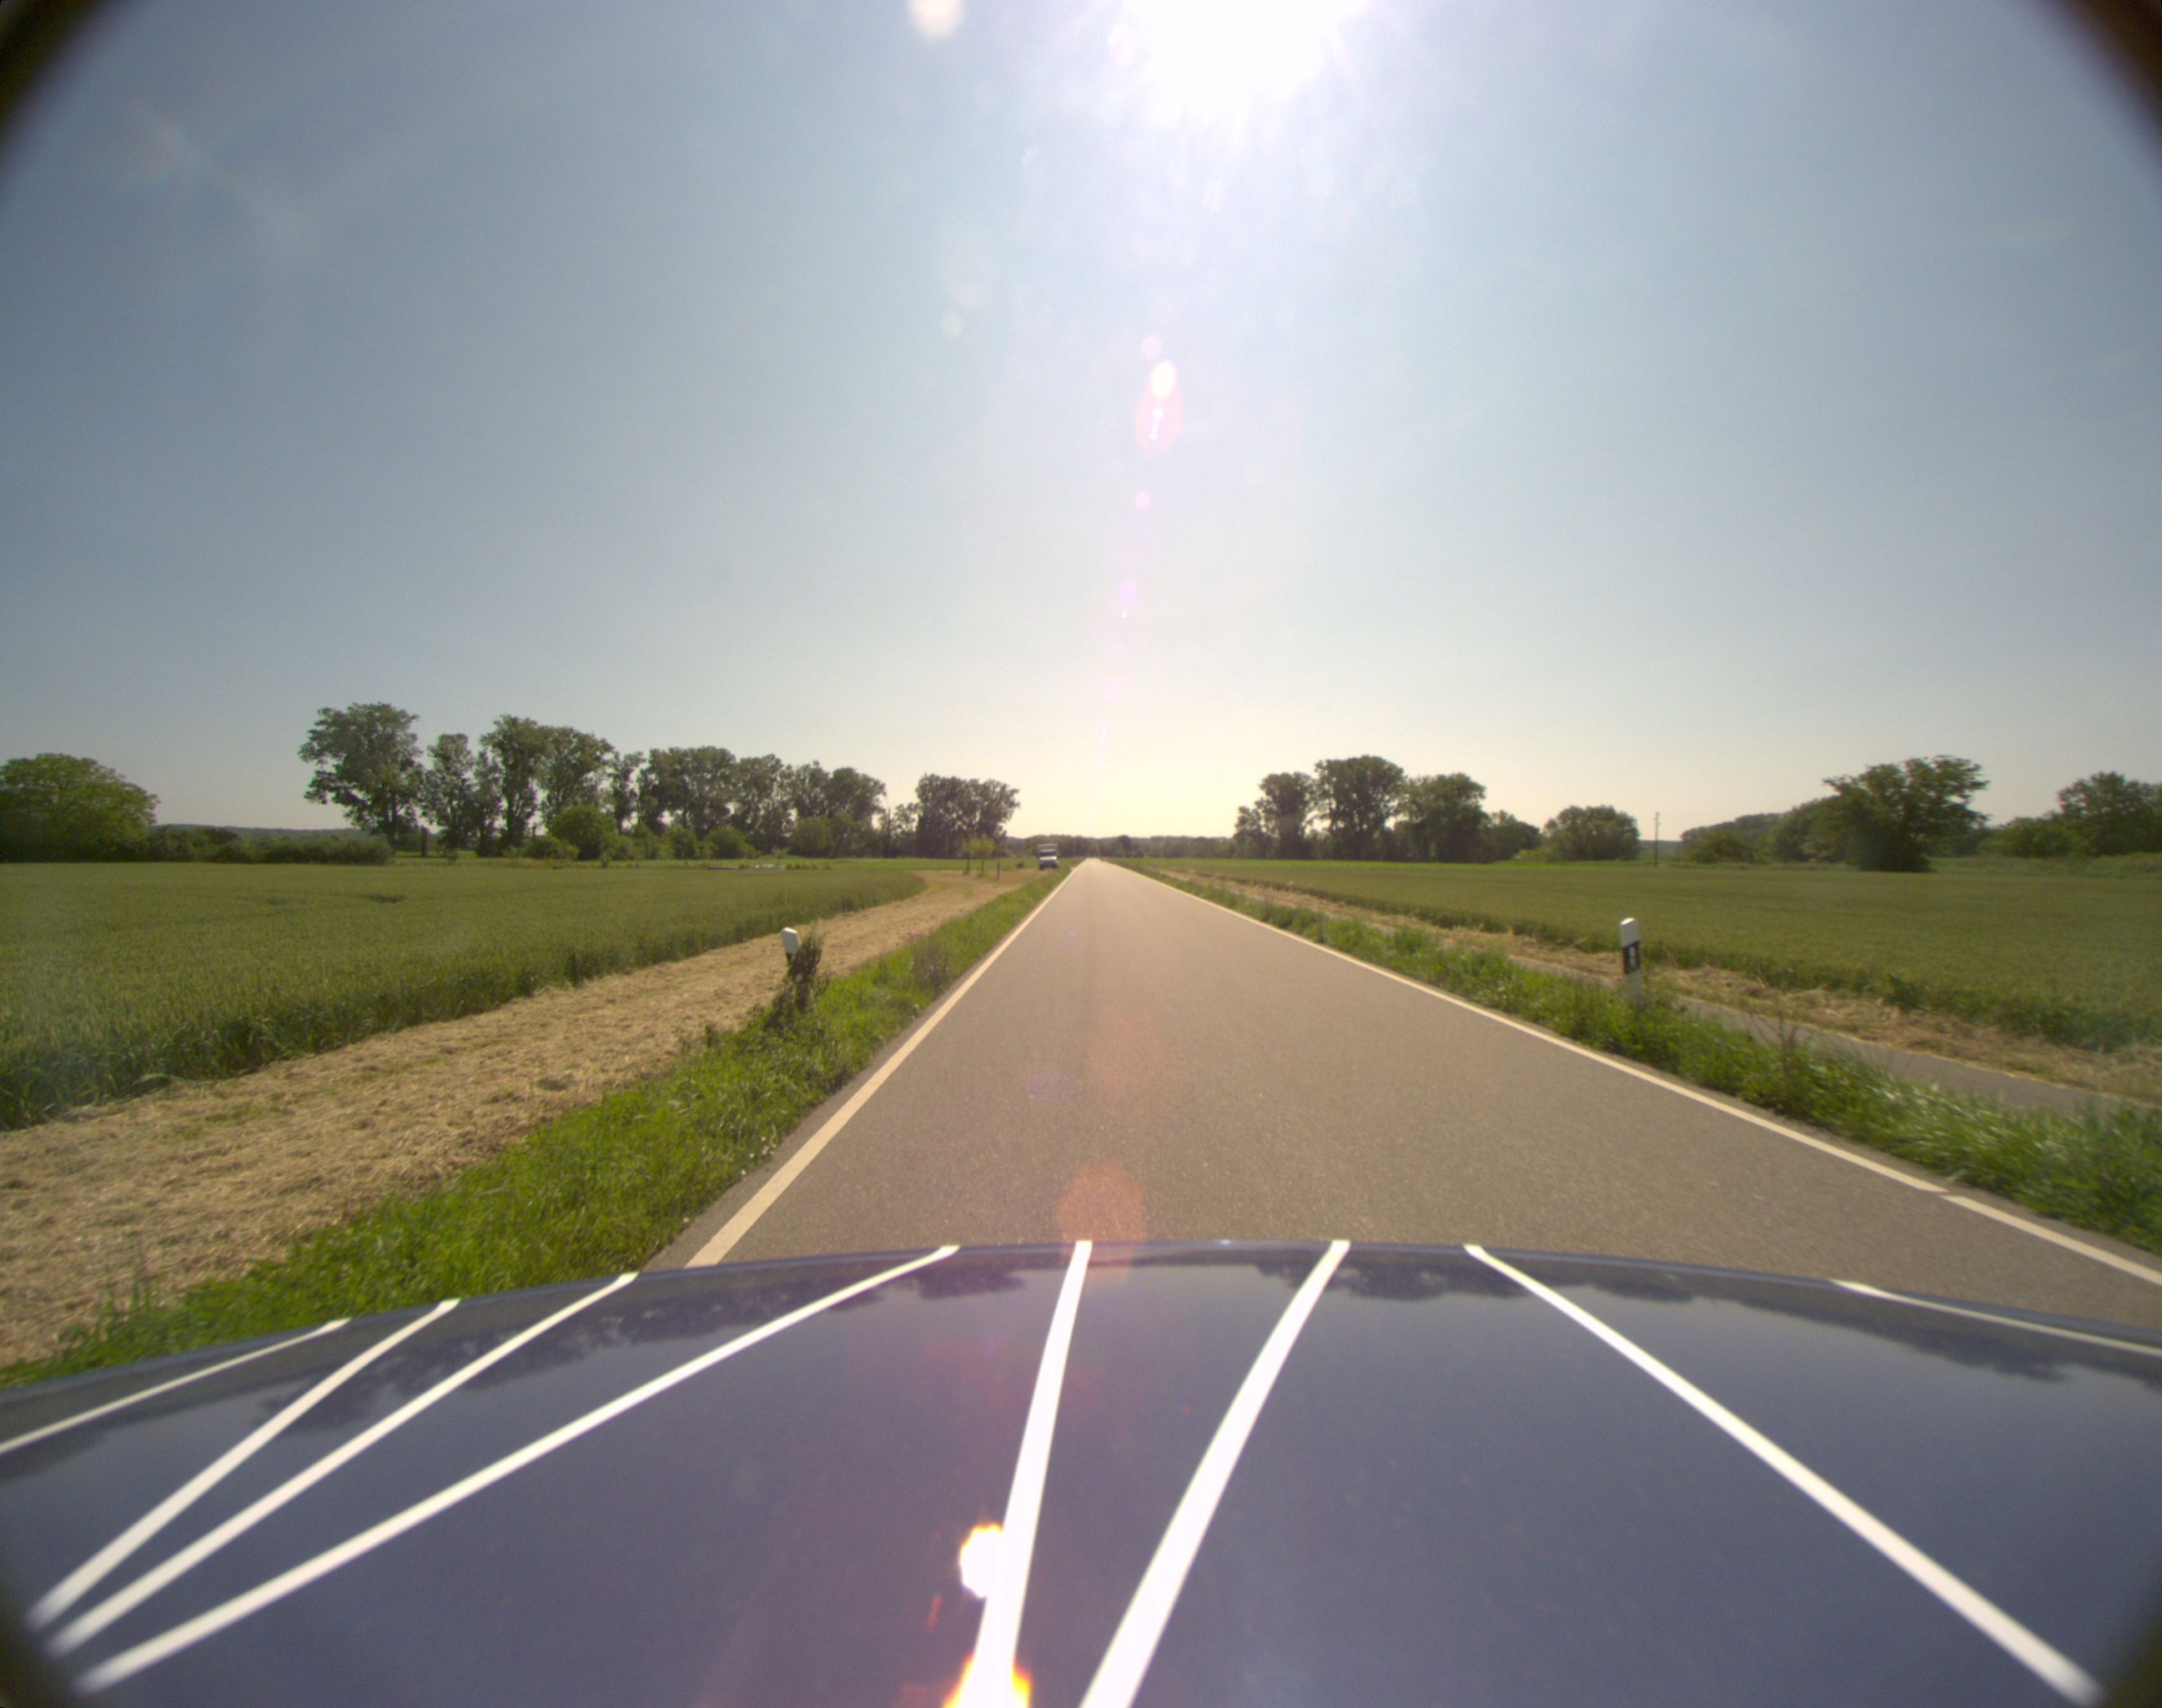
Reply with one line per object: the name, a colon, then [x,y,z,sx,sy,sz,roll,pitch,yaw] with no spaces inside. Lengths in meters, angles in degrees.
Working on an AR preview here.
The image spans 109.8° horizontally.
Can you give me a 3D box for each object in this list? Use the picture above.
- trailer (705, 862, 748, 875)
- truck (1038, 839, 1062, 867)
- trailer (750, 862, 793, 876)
trailer: [-35.629,1.448,76.367,3.543,1.182,1.665,-1,1,13]
truck: [-3.401,-0.111,84.770,2.341,2.925,7.007,-3,1,-1]
trailer: [-30.593,1.480,75.226,3.591,1.182,1.665,-2,1,13]
